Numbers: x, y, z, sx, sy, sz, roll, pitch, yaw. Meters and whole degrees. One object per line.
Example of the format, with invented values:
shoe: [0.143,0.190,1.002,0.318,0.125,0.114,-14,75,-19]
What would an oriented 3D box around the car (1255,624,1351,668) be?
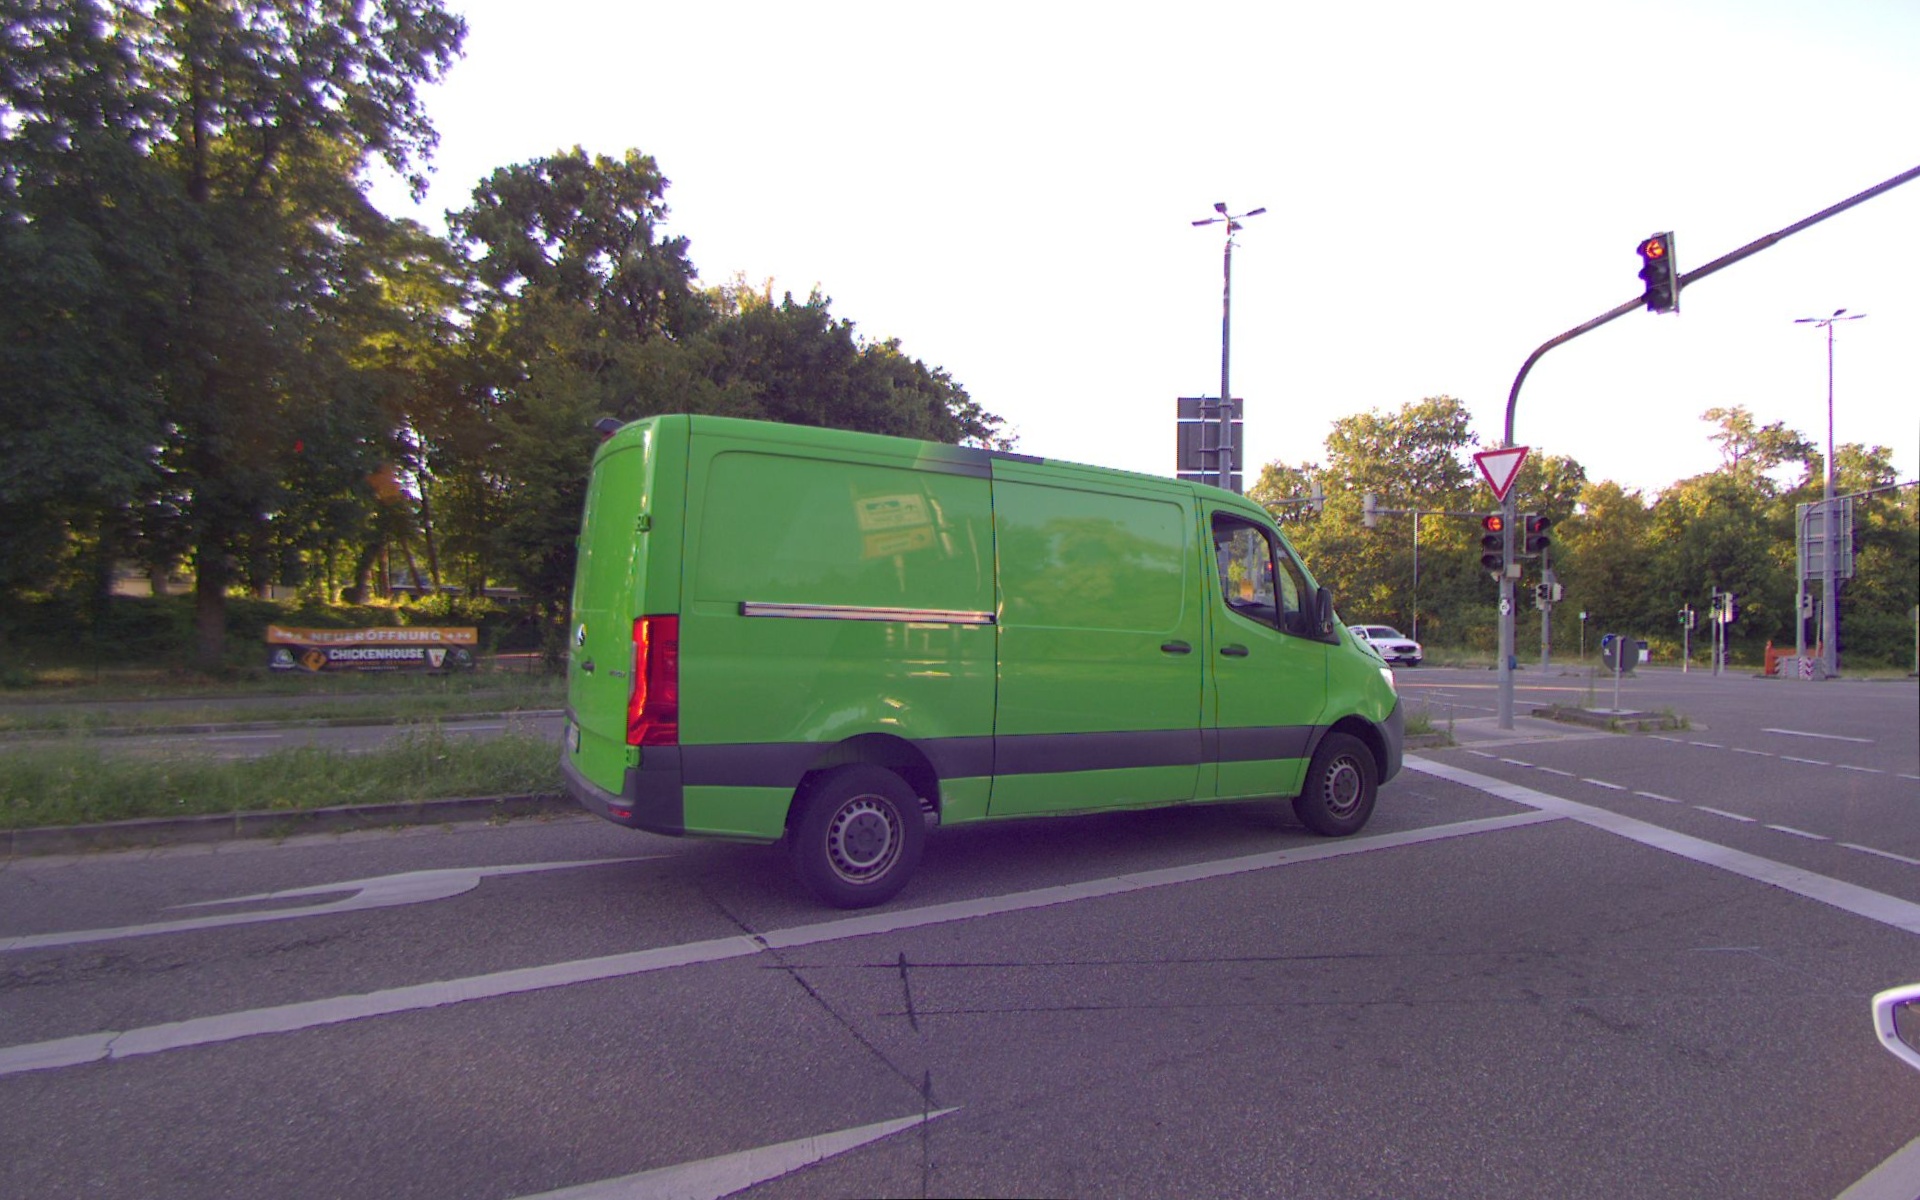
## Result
car: [13.808,1.815,40.696,1.963,1.661,4.252,1,-1,-8]

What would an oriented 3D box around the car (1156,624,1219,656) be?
car: [12.685,2.217,56.198,1.964,1.661,4.250,1,-1,-10]

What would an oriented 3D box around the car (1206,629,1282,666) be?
car: [13.498,2.227,48.045,1.963,1.661,4.252,1,-1,-8]

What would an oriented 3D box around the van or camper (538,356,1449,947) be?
van or camper: [0.538,0.291,6.563,5.830,2.453,1.983,2,-1,-32]

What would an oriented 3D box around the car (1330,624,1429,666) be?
car: [17.495,1.849,42.103,1.963,1.661,4.252,1,-1,-8]
